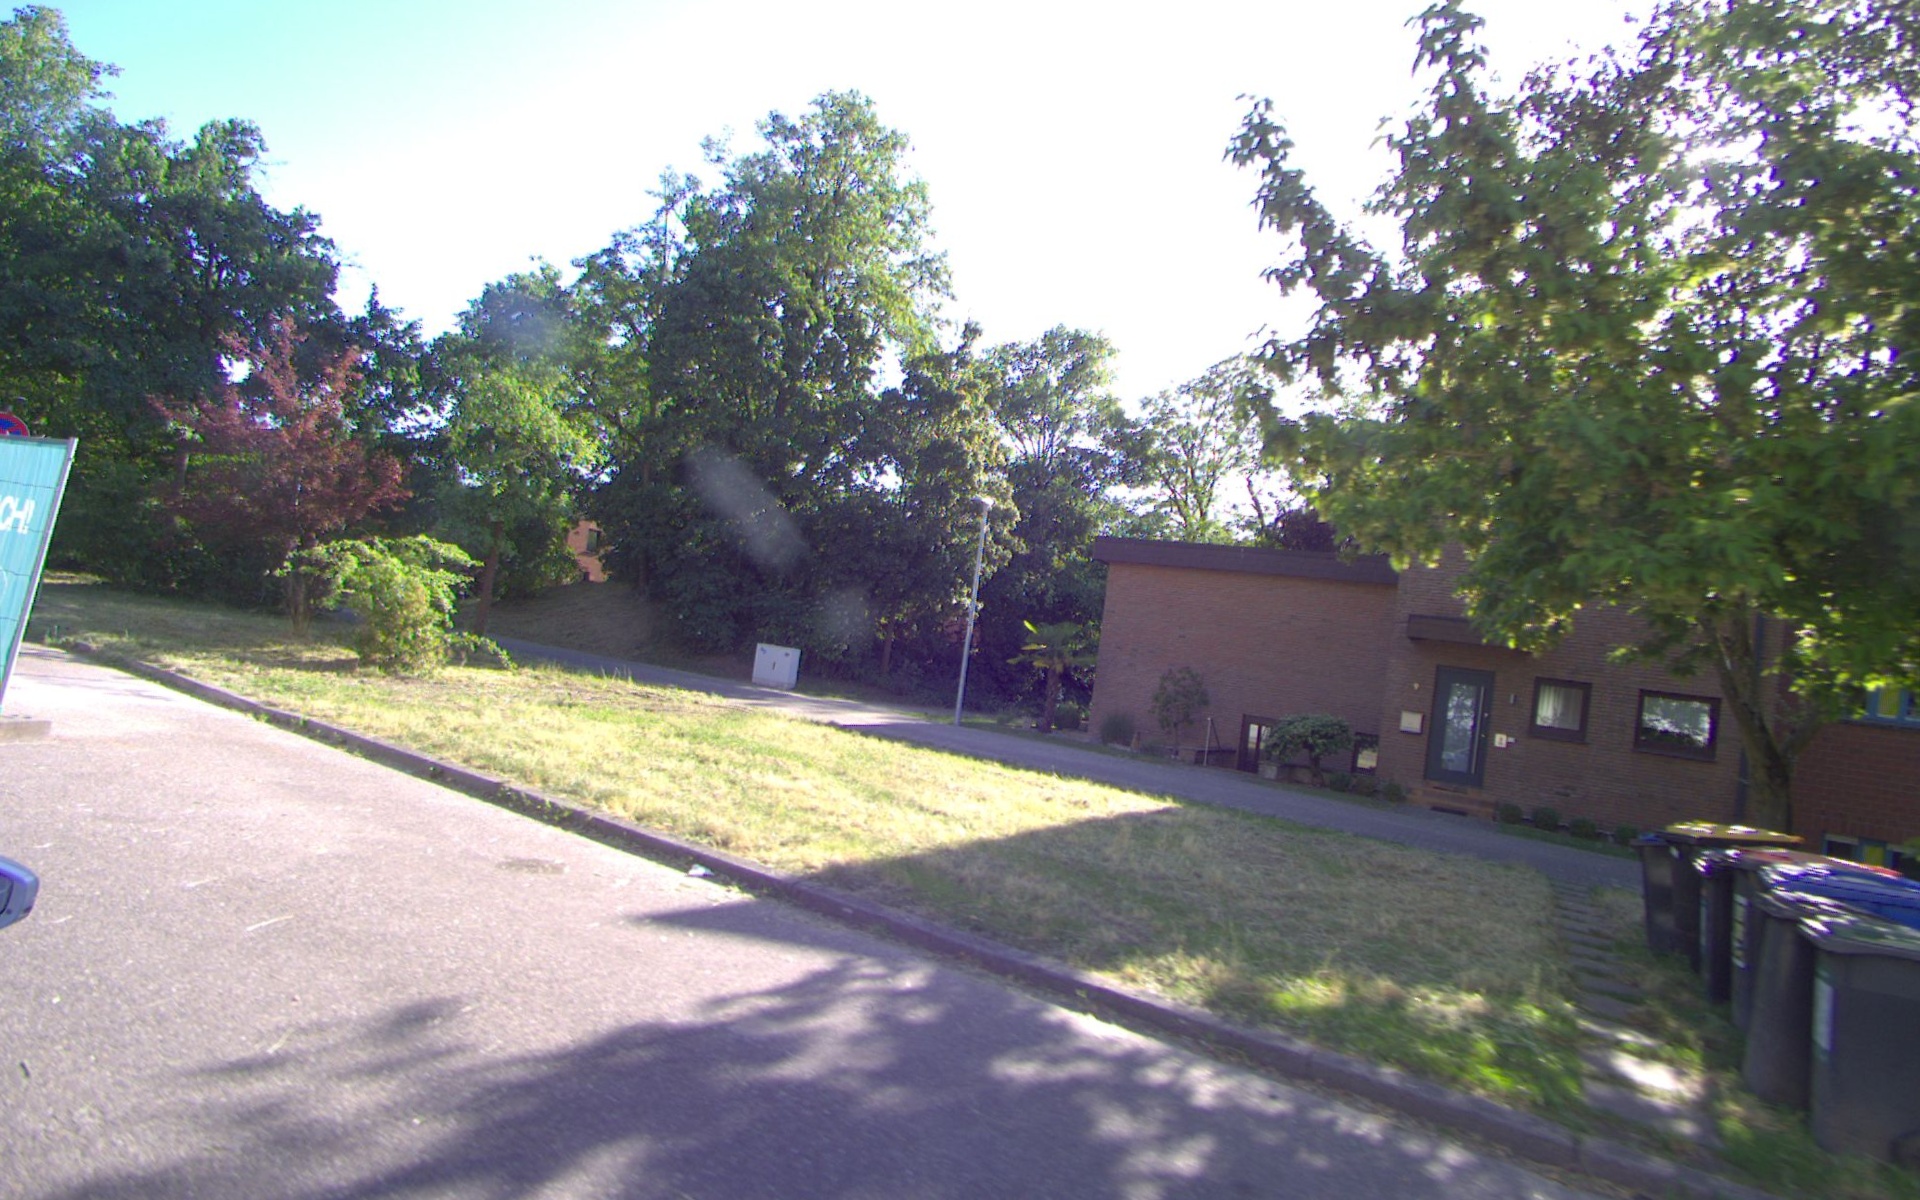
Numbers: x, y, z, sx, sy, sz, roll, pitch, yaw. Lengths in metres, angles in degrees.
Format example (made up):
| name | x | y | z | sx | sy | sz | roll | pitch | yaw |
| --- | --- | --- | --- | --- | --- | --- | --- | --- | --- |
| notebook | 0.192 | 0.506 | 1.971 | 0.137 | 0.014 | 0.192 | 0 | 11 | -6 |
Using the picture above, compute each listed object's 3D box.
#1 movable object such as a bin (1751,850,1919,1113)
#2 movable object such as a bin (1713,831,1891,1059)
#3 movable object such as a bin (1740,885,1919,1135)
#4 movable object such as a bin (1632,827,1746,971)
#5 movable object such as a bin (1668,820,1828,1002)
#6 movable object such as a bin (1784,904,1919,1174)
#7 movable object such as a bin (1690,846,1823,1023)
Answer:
| name | x | y | z | sx | sy | sz | roll | pitch | yaw |
| --- | --- | --- | --- | --- | --- | --- | --- | --- | --- |
| movable object such as a bin | 4.311 | 1.810 | 4.879 | 0.598 | 1.011 | 0.519 | 7 | -1 | 32 |
| movable object such as a bin | 4.689 | 1.891 | 5.642 | 0.598 | 1.011 | 0.563 | 7 | -1 | 32 |
| movable object such as a bin | 3.891 | 1.806 | 4.526 | 0.476 | 0.880 | 0.413 | 7 | -1 | 32 |
| movable object such as a bin | 5.483 | 2.236 | 7.586 | 0.515 | 0.892 | 0.426 | 7 | -1 | 20 |
| movable object such as a bin | 5.259 | 2.047 | 6.762 | 0.683 | 0.939 | 0.695 | 7 | -1 | 32 |
| movable object such as a bin | 3.724 | 1.759 | 4.068 | 0.476 | 0.880 | 0.413 | 7 | -1 | 32 |
| movable object such as a bin | 4.884 | 2.030 | 6.196 | 0.516 | 0.880 | 0.419 | 7 | -1 | 32 |
